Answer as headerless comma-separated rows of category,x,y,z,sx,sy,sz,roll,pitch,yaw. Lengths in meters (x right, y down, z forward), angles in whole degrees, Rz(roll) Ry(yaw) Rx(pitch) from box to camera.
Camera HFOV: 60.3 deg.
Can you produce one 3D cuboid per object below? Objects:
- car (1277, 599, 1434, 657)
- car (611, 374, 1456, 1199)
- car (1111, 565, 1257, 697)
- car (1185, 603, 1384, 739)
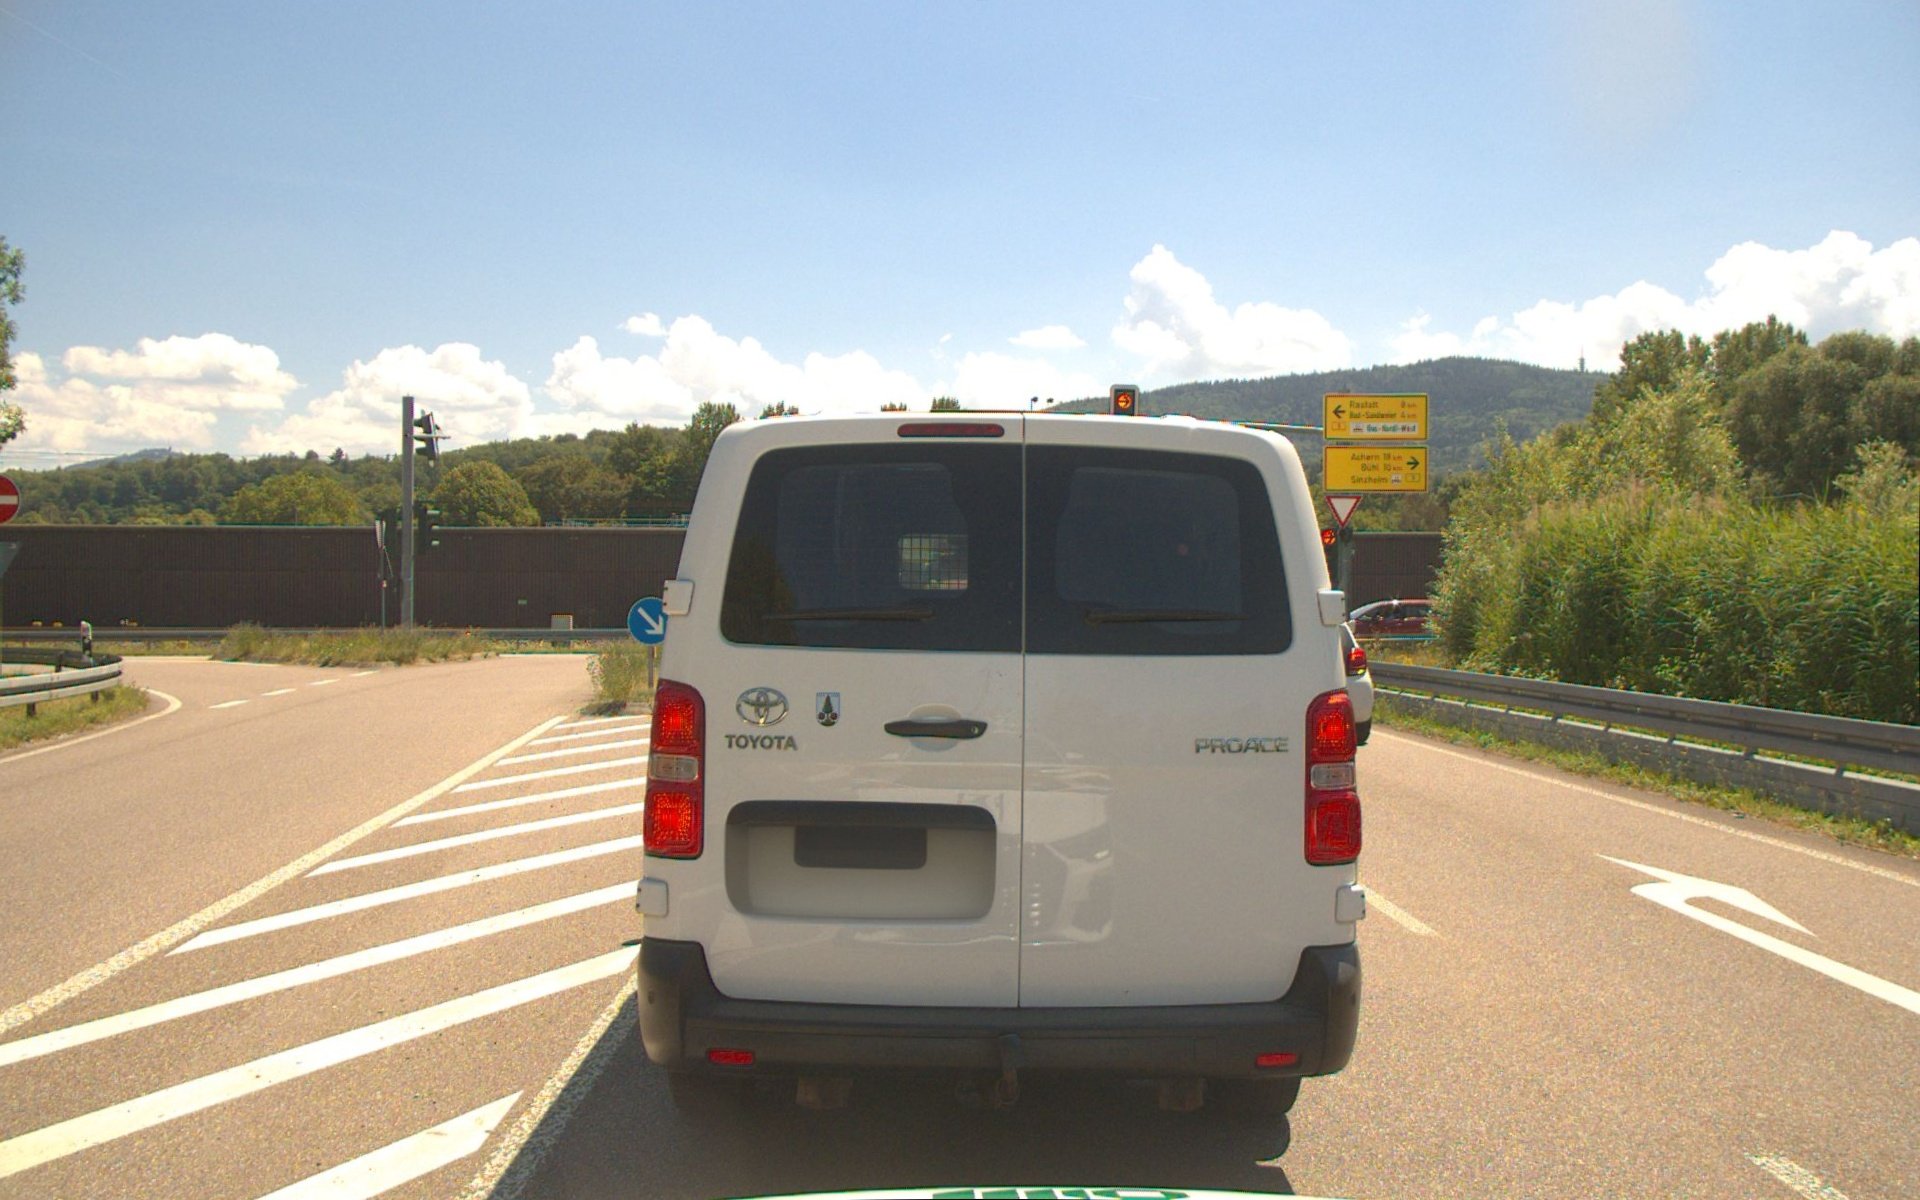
car,11.904,0.837,50.000,4.225,1.685,1.998,0,0,-4
car,0.126,0.482,5.660,1.848,1.919,3.999,1,0,-1
car,3.725,0.497,28.258,1.889,2.035,4.838,1,0,1
car,3.759,0.782,19.658,1.622,1.456,3.364,1,0,-1
